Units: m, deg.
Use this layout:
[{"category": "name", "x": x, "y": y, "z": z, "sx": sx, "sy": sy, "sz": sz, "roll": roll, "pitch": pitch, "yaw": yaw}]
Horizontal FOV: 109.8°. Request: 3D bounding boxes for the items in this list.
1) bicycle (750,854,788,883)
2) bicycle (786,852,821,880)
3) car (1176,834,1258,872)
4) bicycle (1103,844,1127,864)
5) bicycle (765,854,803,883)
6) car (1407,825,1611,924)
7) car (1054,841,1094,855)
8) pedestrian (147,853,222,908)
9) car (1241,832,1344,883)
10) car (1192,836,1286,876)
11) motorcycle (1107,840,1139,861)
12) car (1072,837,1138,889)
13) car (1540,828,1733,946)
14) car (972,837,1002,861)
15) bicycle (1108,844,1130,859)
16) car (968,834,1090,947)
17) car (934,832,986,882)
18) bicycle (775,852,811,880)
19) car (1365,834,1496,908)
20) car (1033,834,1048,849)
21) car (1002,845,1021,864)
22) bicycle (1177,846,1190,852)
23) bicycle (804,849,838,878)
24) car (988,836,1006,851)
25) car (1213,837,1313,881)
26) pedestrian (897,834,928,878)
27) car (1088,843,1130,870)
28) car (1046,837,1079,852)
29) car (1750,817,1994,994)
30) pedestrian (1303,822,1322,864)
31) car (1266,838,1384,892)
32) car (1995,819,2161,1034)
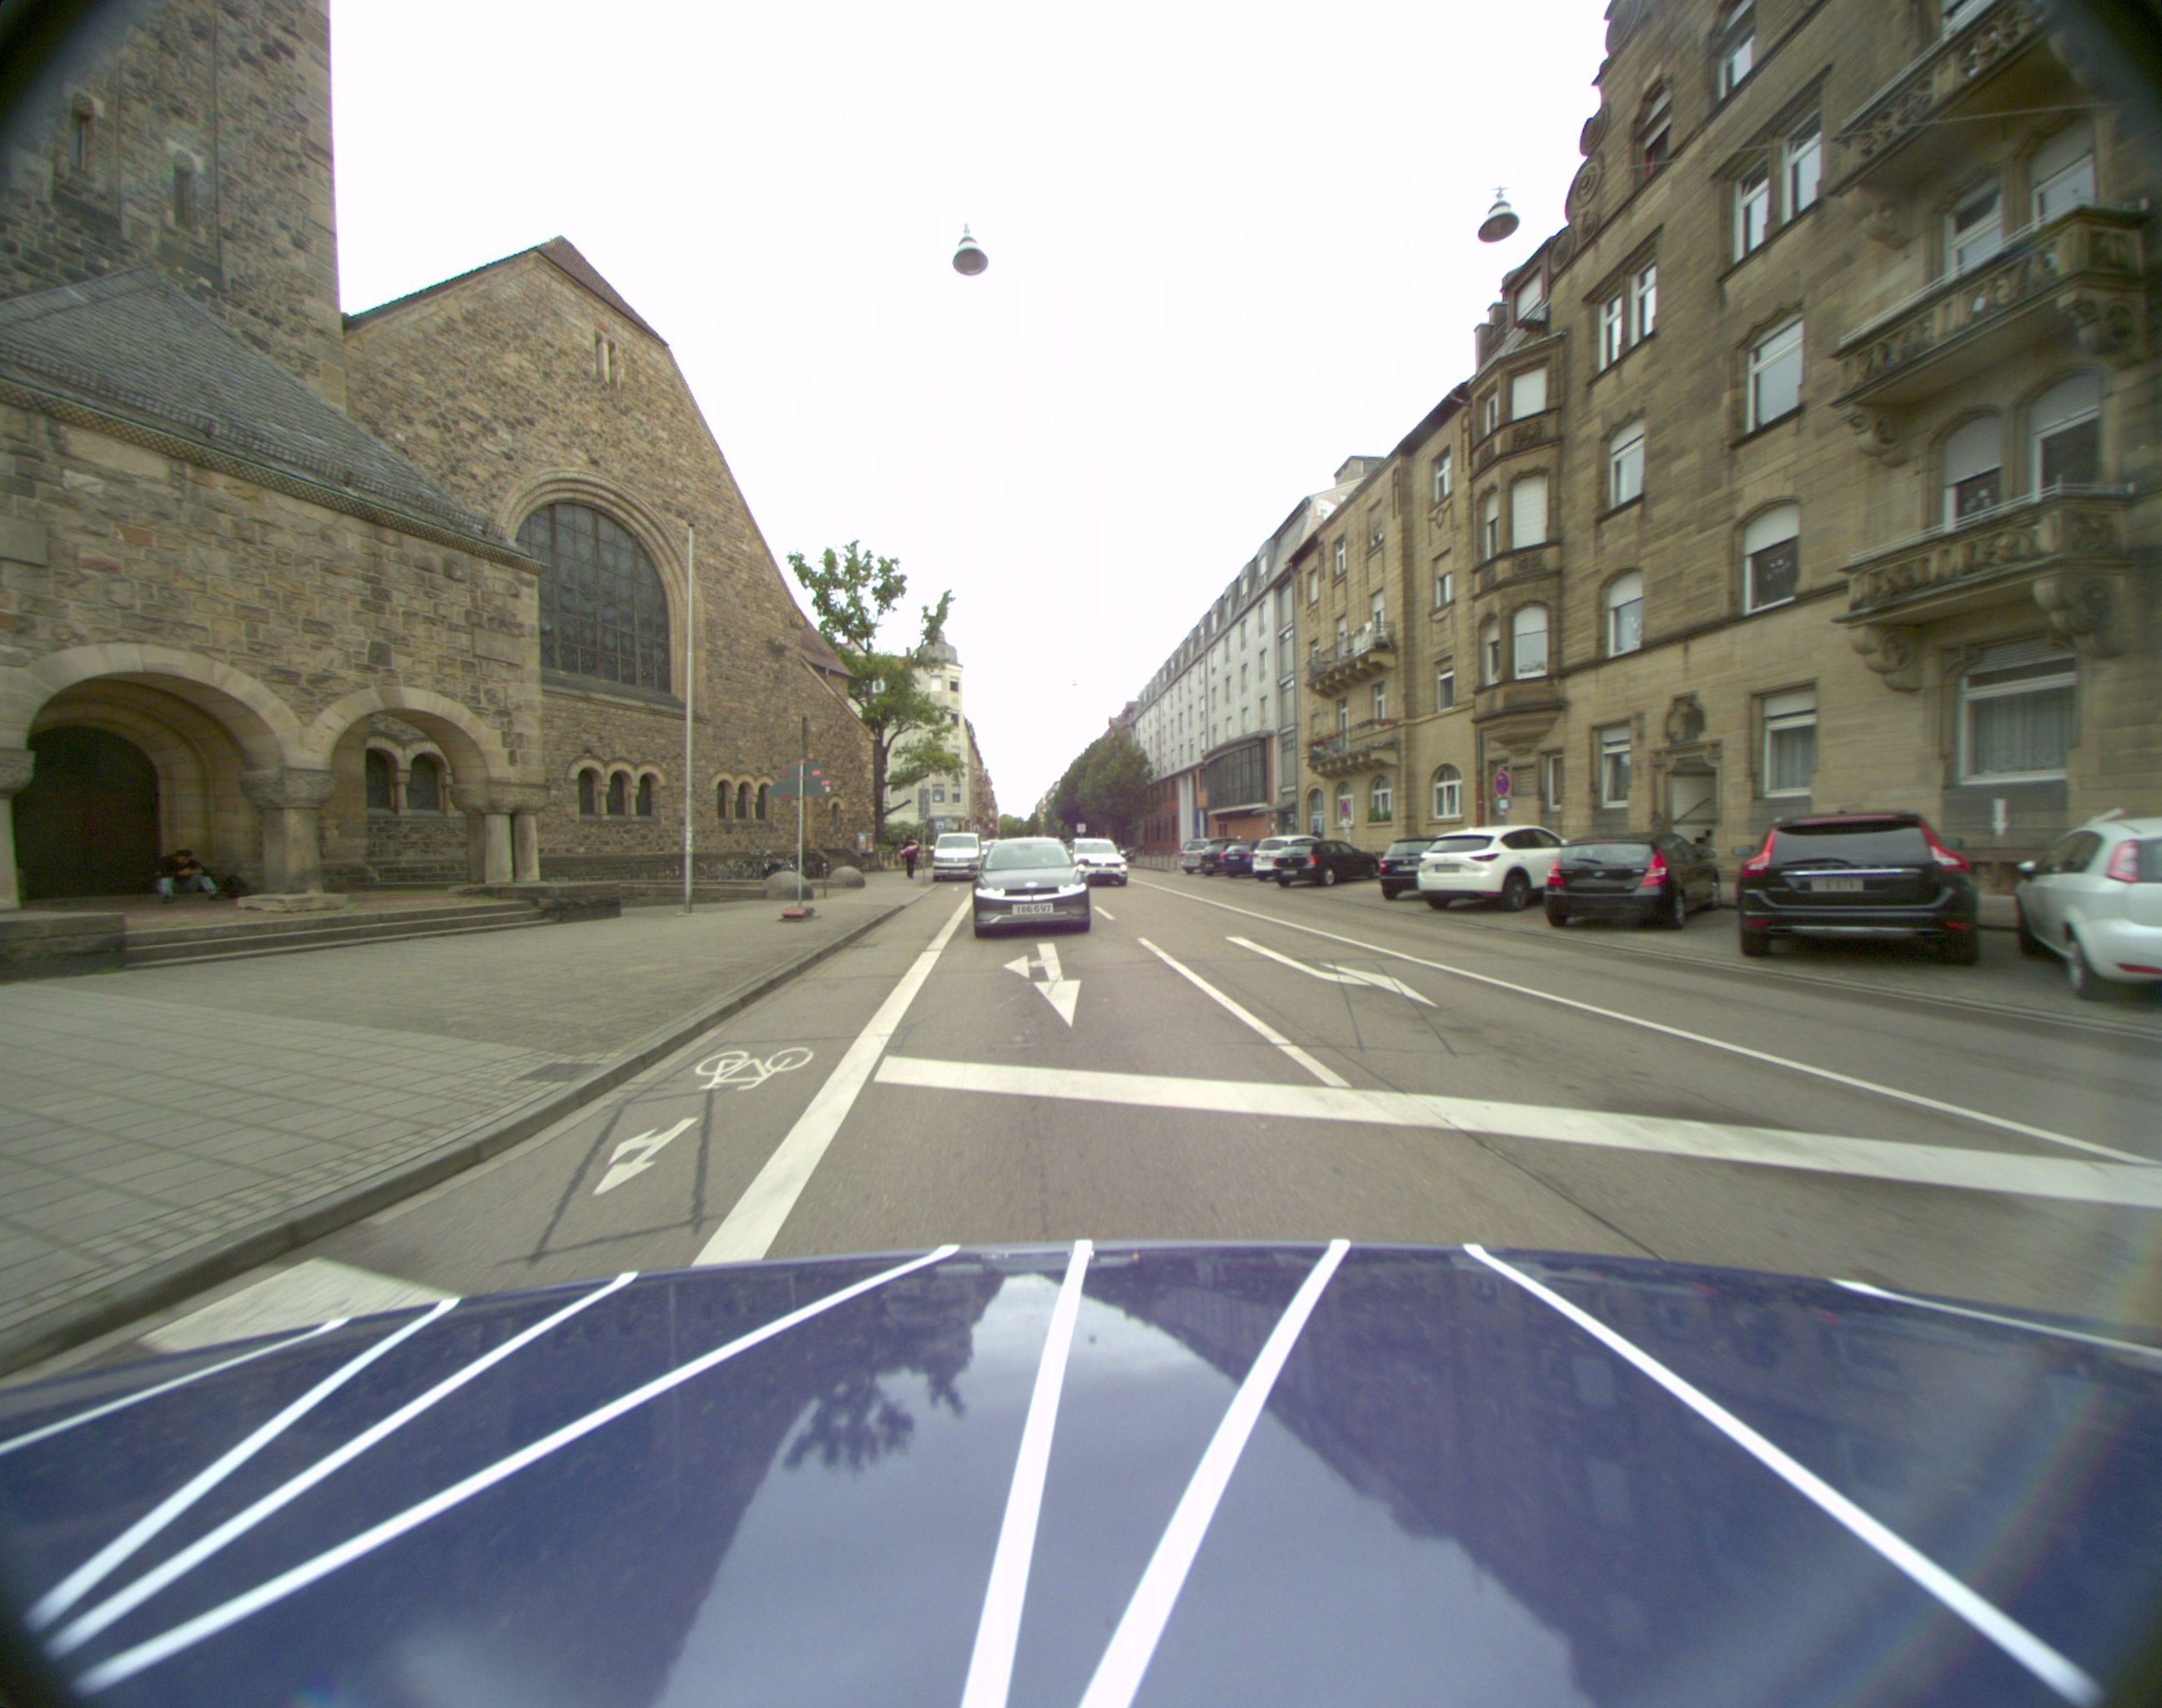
[{"category": "bicycle", "x": -11.452, "y": 0.544, "z": 27.846, "sx": 1.380, "sy": 1.054, "sz": 0.311, "roll": -1, "pitch": 2, "yaw": 18}, {"category": "bicycle", "x": -10.863, "y": 0.473, "z": 29.749, "sx": 1.340, "sy": 1.054, "sz": 0.311, "roll": -1, "pitch": 2, "yaw": 18}, {"category": "car", "x": 6.530, "y": -0.053, "z": 36.212, "sx": 4.007, "sy": 1.545, "sz": 1.728, "roll": -5, "pitch": 2, "yaw": -44}, {"category": "bicycle", "x": 2.419, "y": -0.034, "z": 54.115, "sx": 1.630, "sy": 1.346, "sz": 0.416, "roll": -3, "pitch": 2, "yaw": -6}, {"category": "bicycle", "x": -11.080, "y": 0.535, "z": 28.352, "sx": 1.380, "sy": 1.054, "sz": 0.311, "roll": -1, "pitch": 2, "yaw": 18}, {"category": "car", "x": 8.911, "y": 0.332, "z": 15.768, "sx": 4.005, "sy": 1.714, "sz": 1.836, "roll": -3, "pitch": 2, "yaw": -29}, {"category": "car", "x": -0.790, "y": -0.689, "z": 83.960, "sx": 4.005, "sy": 1.488, "sz": 1.734, "roll": -2, "pitch": 1, "yaw": -27}, {"category": "pedestrian", "x": -15.890, "y": 0.461, "z": 13.474, "sx": 0.672, "sy": 0.946, "sz": 0.616, "roll": 0, "pitch": 2, "yaw": 18}, {"category": "car", "x": 7.828, "y": 0.102, "z": 27.908, "sx": 4.007, "sy": 1.545, "sz": 1.699, "roll": -5, "pitch": 2, "yaw": -42}, {"category": "car", "x": 6.918, "y": 0.065, "z": 33.189, "sx": 4.006, "sy": 1.430, "sz": 1.729, "roll": -5, "pitch": 2, "yaw": -36}, {"category": "motorcycle", "x": 2.925, "y": -0.269, "z": 53.007, "sx": 2.125, "sy": 1.346, "sz": 0.598, "roll": -3, "pitch": 2, "yaw": -4}, {"category": "car", "x": 0.741, "y": 0.248, "z": 26.286, "sx": 1.911, "sy": 1.597, "sz": 4.248, "roll": -1, "pitch": 2, "yaw": -3}, {"category": "car", "x": 9.344, "y": 0.442, "z": 12.659, "sx": 4.006, "sy": 1.486, "sz": 1.727, "roll": -5, "pitch": 2, "yaw": -41}, {"category": "car", "x": -6.371, "y": -0.379, "z": 52.014, "sx": 1.820, "sy": 1.556, "sz": 3.997, "roll": -1, "pitch": 1, "yaw": -4}, {"category": "bicycle", "x": 2.872, "y": -0.207, "z": 57.395, "sx": 1.630, "sy": 1.068, "sz": 0.416, "roll": -3, "pitch": 2, "yaw": -6}, {"category": "car", "x": -0.932, "y": 0.512, "z": 13.528, "sx": 1.820, "sy": 1.675, "sz": 3.997, "roll": -1, "pitch": 1, "yaw": -4}, {"category": "car", "x": -4.997, "y": 0.068, "z": 31.977, "sx": 1.810, "sy": 1.909, "sz": 5.160, "roll": -1, "pitch": 1, "yaw": -6}, {"category": "bicycle", "x": -11.036, "y": 0.467, "z": 29.121, "sx": 1.380, "sy": 1.054, "sz": 0.311, "roll": -1, "pitch": 2, "yaw": 18}, {"category": "car", "x": 8.659, "y": 0.336, "z": 18.693, "sx": 3.819, "sy": 1.489, "sz": 1.565, "roll": -5, "pitch": 3, "yaw": -43}, {"category": "car", "x": -5.315, "y": -1.635, "z": 98.947, "sx": 1.699, "sy": 1.793, "sz": 4.126, "roll": -1, "pitch": 1, "yaw": -7}, {"category": "car", "x": -6.877, "y": 0.007, "z": 74.949, "sx": 1.833, "sy": 1.762, "sz": 3.996, "roll": -2, "pitch": 2, "yaw": -6}, {"category": "bicycle", "x": 8.487, "y": -0.436, "z": 63.137, "sx": 1.010, "sy": 0.435, "sz": 0.527, "roll": -1, "pitch": 3, "yaw": -3}, {"category": "bicycle", "x": -10.485, "y": 0.396, "z": 30.610, "sx": 1.340, "sy": 1.140, "sz": 0.311, "roll": -1, "pitch": 2, "yaw": 18}, {"category": "car", "x": -9.261, "y": -1.185, "z": 84.180, "sx": 1.820, "sy": 1.556, "sz": 3.997, "roll": -1, "pitch": 1, "yaw": -4}, {"category": "car", "x": 7.325, "y": 0.178, "z": 30.507, "sx": 3.754, "sy": 1.437, "sz": 1.819, "roll": -5, "pitch": 2, "yaw": -35}, {"category": "pedestrian", "x": -7.112, "y": 0.089, "z": 32.055, "sx": 0.814, "sy": 1.799, "sz": 1.020, "roll": 0, "pitch": 4, "yaw": 16}, {"category": "car", "x": 1.563, "y": 0.133, "z": 43.387, "sx": 1.655, "sy": 1.439, "sz": 3.507, "roll": -1, "pitch": 1, "yaw": -11}, {"category": "car", "x": -2.458, "y": -1.325, "z": 103.530, "sx": 4.005, "sy": 1.898, "sz": 1.995, "roll": -2, "pitch": 2, "yaw": -27}, {"category": "car", "x": 9.458, "y": 0.422, "z": 9.326, "sx": 1.726, "sy": 1.642, "sz": 4.233, "roll": 0, "pitch": 3, "yaw": 43}, {"category": "pedestrian", "x": 10.143, "y": -0.464, "z": 33.328, "sx": 0.622, "sy": 1.813, "sz": 0.641, "roll": -1, "pitch": 2, "yaw": -4}, {"category": "car", "x": 7.869, "y": 0.308, "z": 24.337, "sx": 4.006, "sy": 1.410, "sz": 1.657, "roll": -5, "pitch": 3, "yaw": -40}, {"category": "car", "x": 9.859, "y": 0.496, "z": 6.869, "sx": 1.560, "sy": 1.464, "sz": 4.007, "roll": -1, "pitch": 3, "yaw": 43}]
